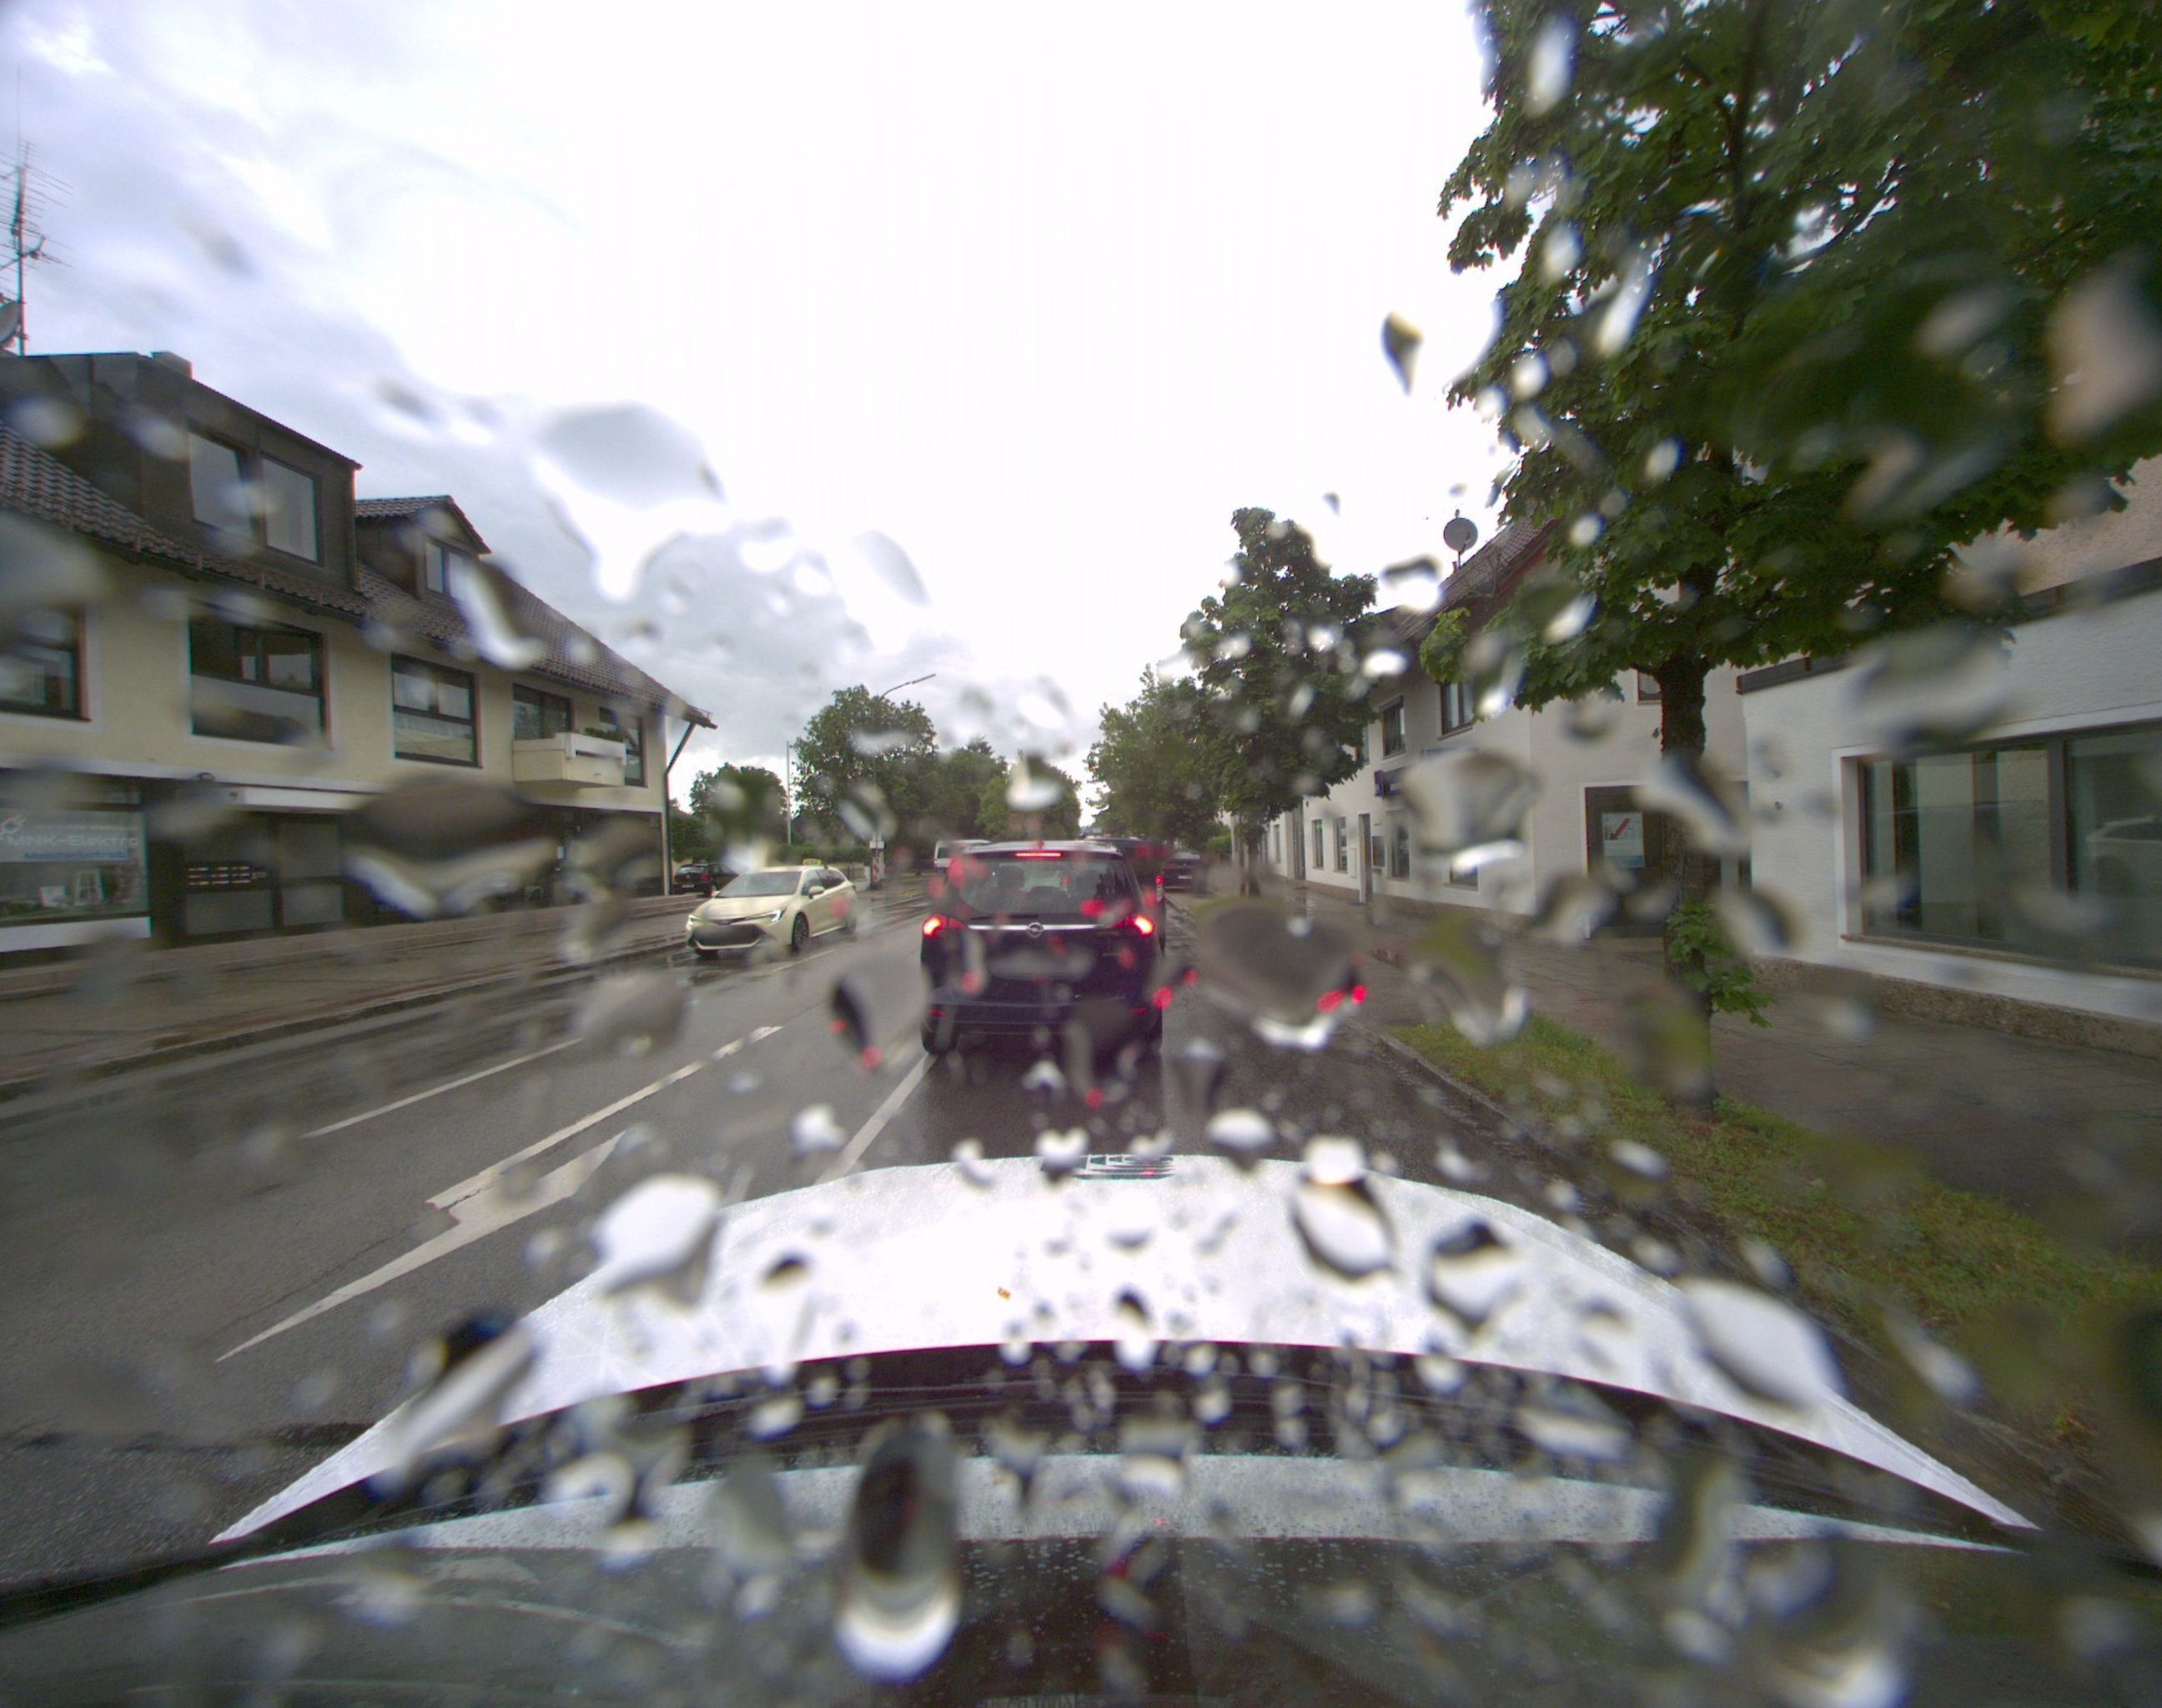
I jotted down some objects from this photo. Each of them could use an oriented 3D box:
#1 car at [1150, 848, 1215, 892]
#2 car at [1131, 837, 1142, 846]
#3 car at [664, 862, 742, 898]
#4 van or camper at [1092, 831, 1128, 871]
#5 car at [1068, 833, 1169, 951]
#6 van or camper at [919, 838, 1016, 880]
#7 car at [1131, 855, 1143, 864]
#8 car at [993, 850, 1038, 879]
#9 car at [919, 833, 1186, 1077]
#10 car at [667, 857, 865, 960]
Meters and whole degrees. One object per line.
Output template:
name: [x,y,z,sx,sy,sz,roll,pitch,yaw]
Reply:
car: [3.855,0.586,31.568,2.110,1.581,3.936,0,0,1]
car: [8.840,-1.998,129.733,1.624,1.378,3.624,-3,0,2]
car: [-16.306,1.087,35.288,1.601,1.380,3.510,-3,0,2]
van or camper: [2.092,-0.207,59.133,2.351,2.665,5.374,-2,0,2]
car: [0.610,0.569,13.788,1.495,1.776,3.113,0,0,2]
van or camper: [-7.842,0.332,56.655,6.210,2.707,2.106,-2,0,9]
car: [8.189,0.820,120.192,1.624,1.378,3.624,-1,-1,2]
car: [-3.556,0.551,44.864,1.989,1.407,3.886,-3,0,2]
car: [-0.132,0.672,7.271,1.762,1.604,3.665,-1,0,2]
car: [-5.521,0.868,14.933,1.745,1.511,4.233,-3,0,3]
